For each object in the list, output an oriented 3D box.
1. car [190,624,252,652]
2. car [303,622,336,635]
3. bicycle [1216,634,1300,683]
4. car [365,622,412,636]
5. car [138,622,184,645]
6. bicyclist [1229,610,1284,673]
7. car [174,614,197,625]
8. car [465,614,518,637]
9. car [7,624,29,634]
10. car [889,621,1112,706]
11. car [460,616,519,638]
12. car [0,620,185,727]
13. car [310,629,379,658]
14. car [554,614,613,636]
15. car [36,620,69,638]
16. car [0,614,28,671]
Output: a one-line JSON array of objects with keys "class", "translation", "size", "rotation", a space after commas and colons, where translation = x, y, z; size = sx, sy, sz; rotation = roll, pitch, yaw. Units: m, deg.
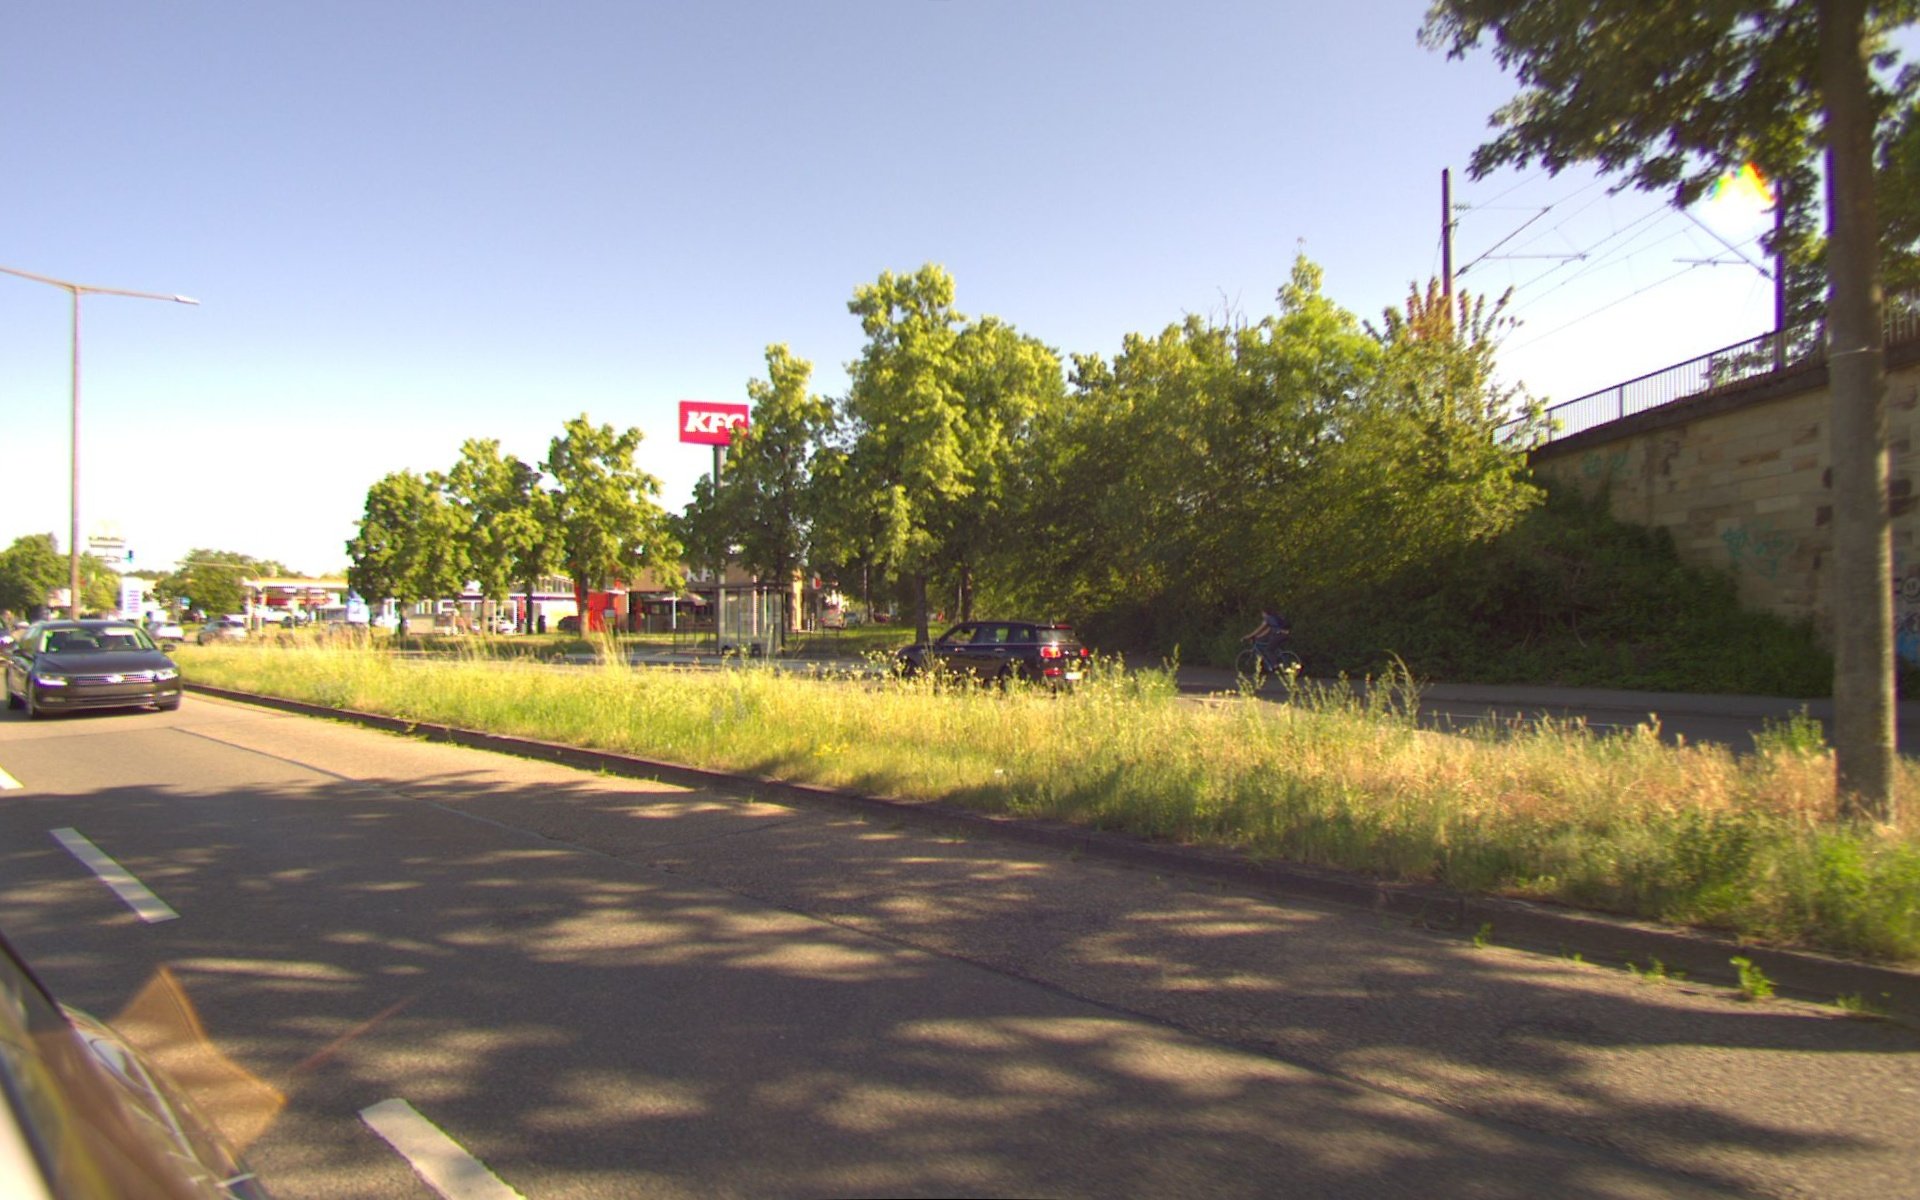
[{"class": "car", "translation": [-41.399, 2.118, 56.673], "size": [4.628, 1.446, 1.798], "rotation": [-1, -3, 41]}, {"class": "car", "translation": [-69.683, 3.065, 110.029], "size": [4.116, 1.335, 1.876], "rotation": [-1, -3, 40]}, {"class": "bicycle", "translation": [6.879, 1.328, 23.414], "size": [1.714, 1.038, 0.676], "rotation": [-1, 0, 41]}, {"class": "car", "translation": [-62.329, 3.159, 110.486], "size": [1.900, 1.443, 4.063], "rotation": [-1, -3, 41]}, {"class": "car", "translation": [-53.508, 2.216, 67.763], "size": [4.109, 1.462, 1.624], "rotation": [-1, -3, 41]}, {"class": "bicyclist", "translation": [6.863, 0.944, 23.425], "size": [1.026, 1.412, 0.673], "rotation": [-1, 0, 41]}, {"class": "car", "translation": [-115.775, 2.868, 151.262], "size": [4.116, 1.625, 1.739], "rotation": [-1, -3, 40]}, {"class": "car", "translation": [-41.030, 2.216, 88.639], "size": [3.778, 1.864, 1.847], "rotation": [-1, 0, 2]}, {"class": "car", "translation": [-136.995, 4.185, 147.169], "size": [4.621, 1.387, 1.973], "rotation": [-1, -1, 41]}, {"class": "car", "translation": [0.707, 1.135, 19.412], "size": [4.088, 1.453, 1.797], "rotation": [-1, -2, 41]}, {"class": "car", "translation": [-39.142, 2.221, 84.252], "size": [4.074, 1.674, 1.896], "rotation": [-1, 0, -1]}, {"class": "car", "translation": [-14.093, 1.083, 16.299], "size": [4.264, 1.464, 1.824], "rotation": [-1, -1, 42]}, {"class": "car", "translation": [-33.253, 2.340, 54.663], "size": [4.488, 1.466, 1.894], "rotation": [-1, -3, 41]}, {"class": "car", "translation": [-30.980, 2.046, 83.367], "size": [4.181, 1.674, 1.896], "rotation": [-1, 0, -1]}, {"class": "car", "translation": [-90.515, 2.909, 100.958], "size": [4.175, 1.697, 1.972], "rotation": [-1, -2, 41]}, {"class": "car", "translation": [-30.567, 1.305, 31.385], "size": [4.694, 1.696, 1.973], "rotation": [-1, 0, 42]}]
